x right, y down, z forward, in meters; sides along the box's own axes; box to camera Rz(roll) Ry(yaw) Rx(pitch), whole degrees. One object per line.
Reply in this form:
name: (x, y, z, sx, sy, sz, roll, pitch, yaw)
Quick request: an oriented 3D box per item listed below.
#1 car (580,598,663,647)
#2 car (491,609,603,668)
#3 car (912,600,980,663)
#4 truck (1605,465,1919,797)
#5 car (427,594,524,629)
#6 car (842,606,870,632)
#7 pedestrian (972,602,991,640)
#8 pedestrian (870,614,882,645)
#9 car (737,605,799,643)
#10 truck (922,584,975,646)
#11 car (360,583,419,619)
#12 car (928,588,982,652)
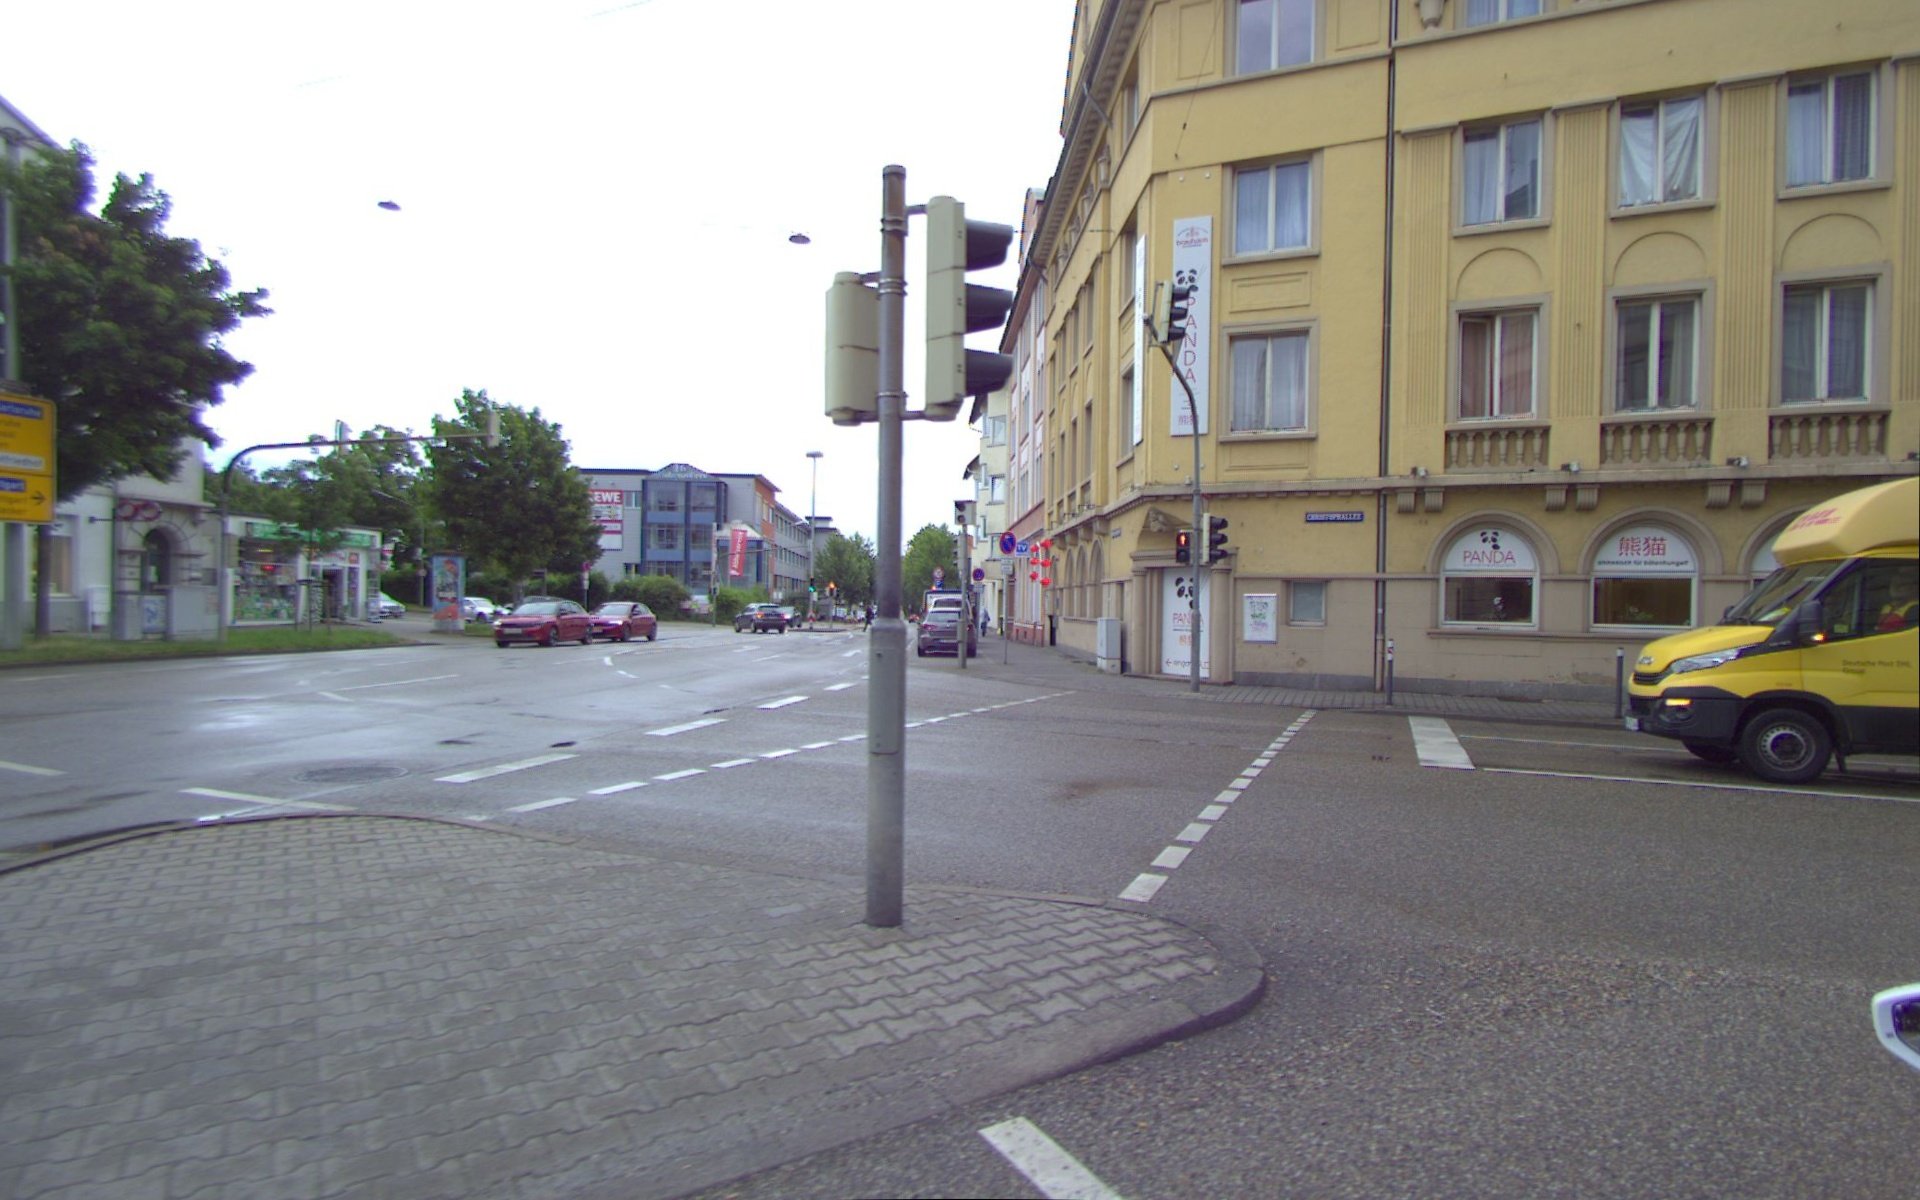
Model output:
car: (-12.303, 0.798, 36.771, 1.734, 1.656, 3.625, 2, -1, 1)
car: (-12.827, 1.141, 31.439, 1.814, 1.706, 4.000, 0, 0, 1)
car: (-0.465, 0.899, 30.388, 1.848, 1.659, 3.998, 3, 1, -2)
truck: (10.194, 0.325, 9.114, 6.976, 2.889, 2.082, 1, -1, 22)
car: (-26.828, 0.632, 55.637, 4.457, 1.818, 2.001, 1, 0, 9)
car: (-8.385, 1.501, 81.414, 1.961, 2.040, 3.999, 1, -1, -2)
pedestrian: (1.179, 1.126, 54.772, 0.909, 2.040, 0.918, 1, 0, -2)
pedestrian: (-5.393, 1.891, 64.222, 0.711, 1.963, 0.792, 1, 0, -5)
car: (-10.038, 1.227, 52.354, 1.977, 1.840, 3.967, 2, -1, -30)
truck: (-0.553, 0.613, 43.078, 1.994, 2.421, 4.234, 2, 0, -3)
car: (-34.053, 0.036, 59.891, 3.944, 2.040, 1.988, 1, 0, 44)
car: (-0.225, 0.692, 37.316, 1.734, 2.209, 3.998, 2, 0, -3)
